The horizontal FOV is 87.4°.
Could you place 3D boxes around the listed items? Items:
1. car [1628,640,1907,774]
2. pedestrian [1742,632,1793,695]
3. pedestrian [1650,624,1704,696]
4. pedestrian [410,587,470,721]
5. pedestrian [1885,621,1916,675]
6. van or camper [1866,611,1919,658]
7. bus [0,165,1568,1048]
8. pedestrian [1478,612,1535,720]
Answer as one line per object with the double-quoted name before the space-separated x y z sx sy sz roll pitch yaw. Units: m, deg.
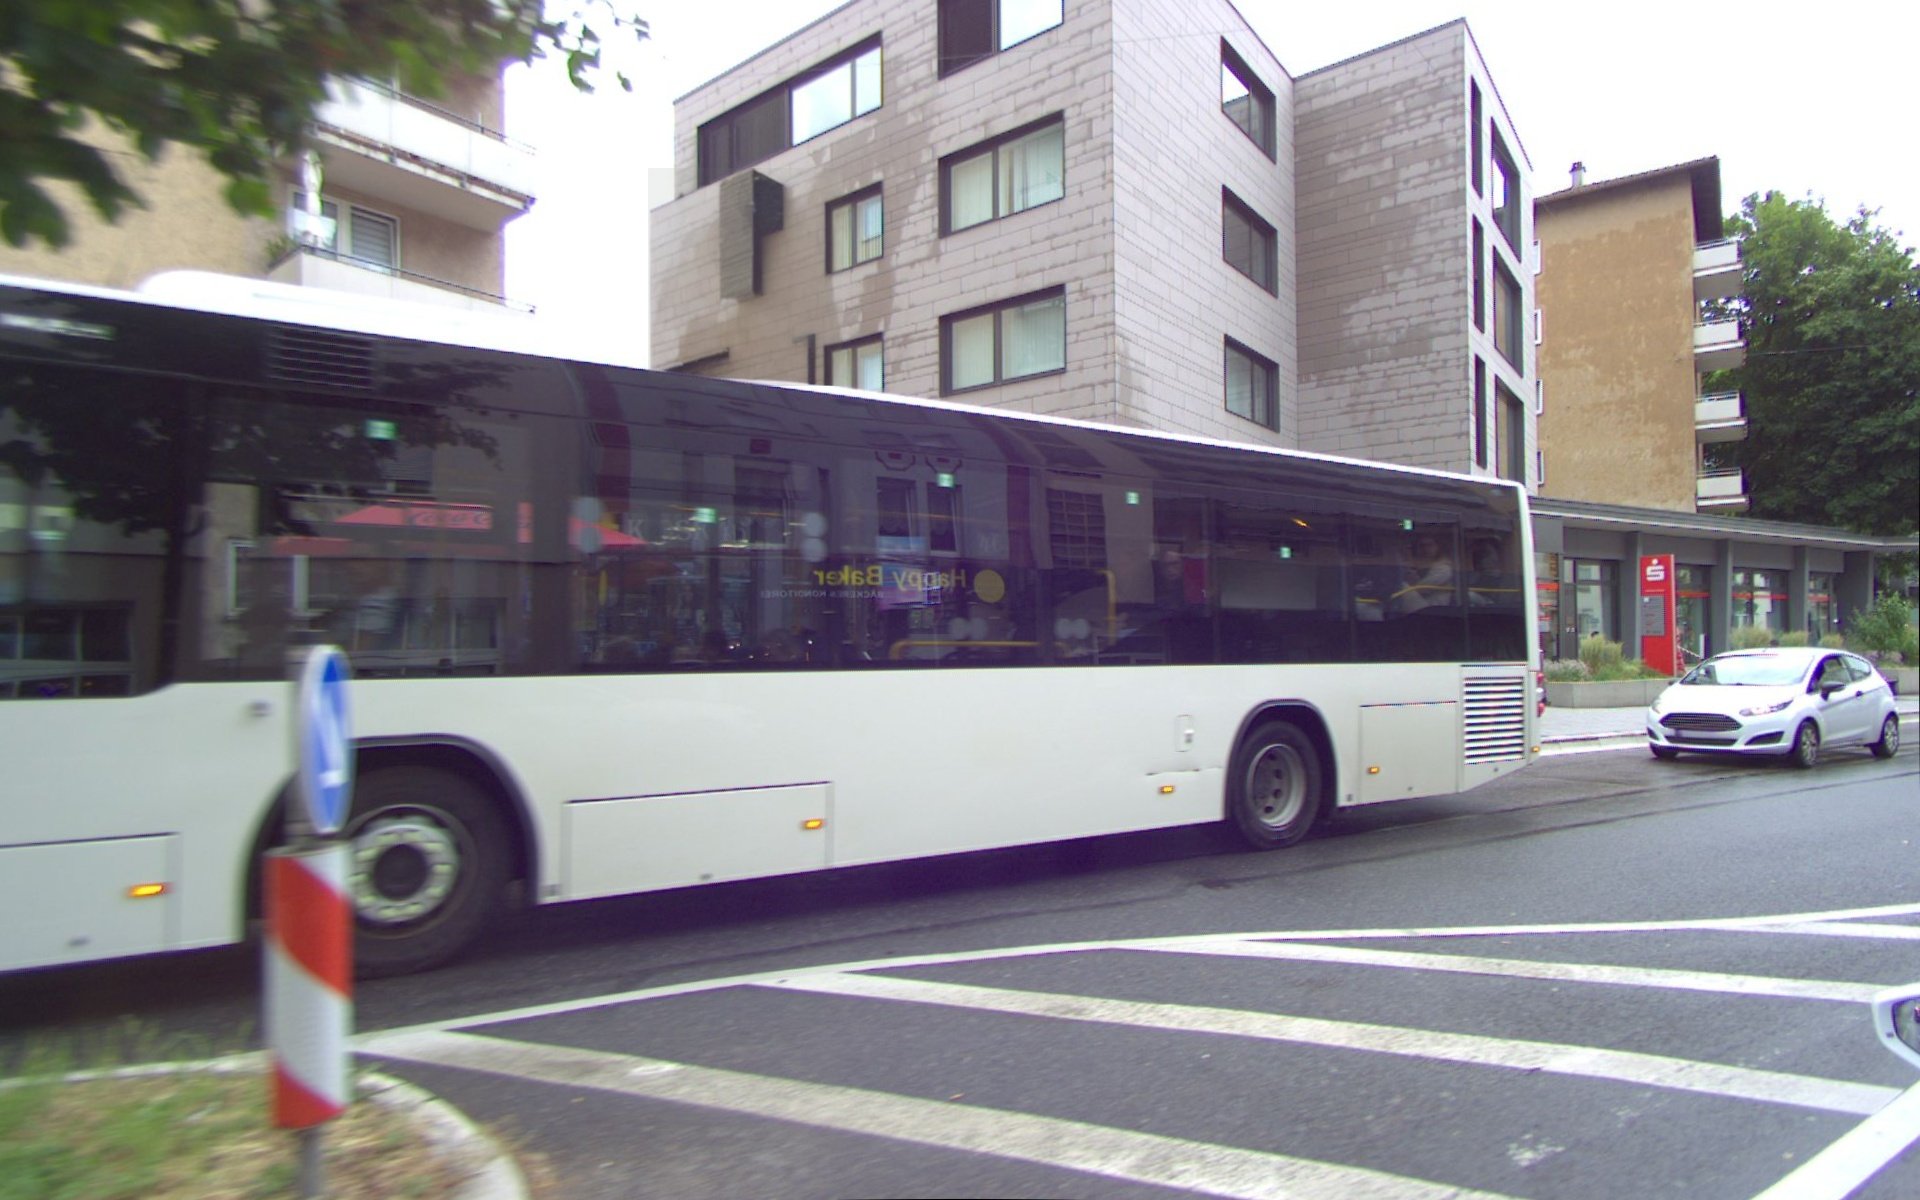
"car" 10.666 1.298 13.229 3.761 1.483 1.608 1 -1 -30
"pedestrian" 18.852 1.469 23.463 0.710 1.439 0.592 0 -1 6
"pedestrian" 17.260 1.440 24.188 0.784 1.700 0.713 0 -1 -1
"pedestrian" -7.837 0.795 15.155 0.606 1.953 0.574 -3 2 -18
"pedestrian" 31.452 1.588 33.606 0.647 1.782 0.718 -1 -2 38
"van or camper" 48.773 1.745 50.376 4.538 2.296 2.206 1 0 32
"bus" -0.425 0.262 7.218 11.823 3.287 2.793 2 -7 -31
"pedestrian" 9.659 1.146 17.742 0.863 1.843 0.585 1 -2 -38
